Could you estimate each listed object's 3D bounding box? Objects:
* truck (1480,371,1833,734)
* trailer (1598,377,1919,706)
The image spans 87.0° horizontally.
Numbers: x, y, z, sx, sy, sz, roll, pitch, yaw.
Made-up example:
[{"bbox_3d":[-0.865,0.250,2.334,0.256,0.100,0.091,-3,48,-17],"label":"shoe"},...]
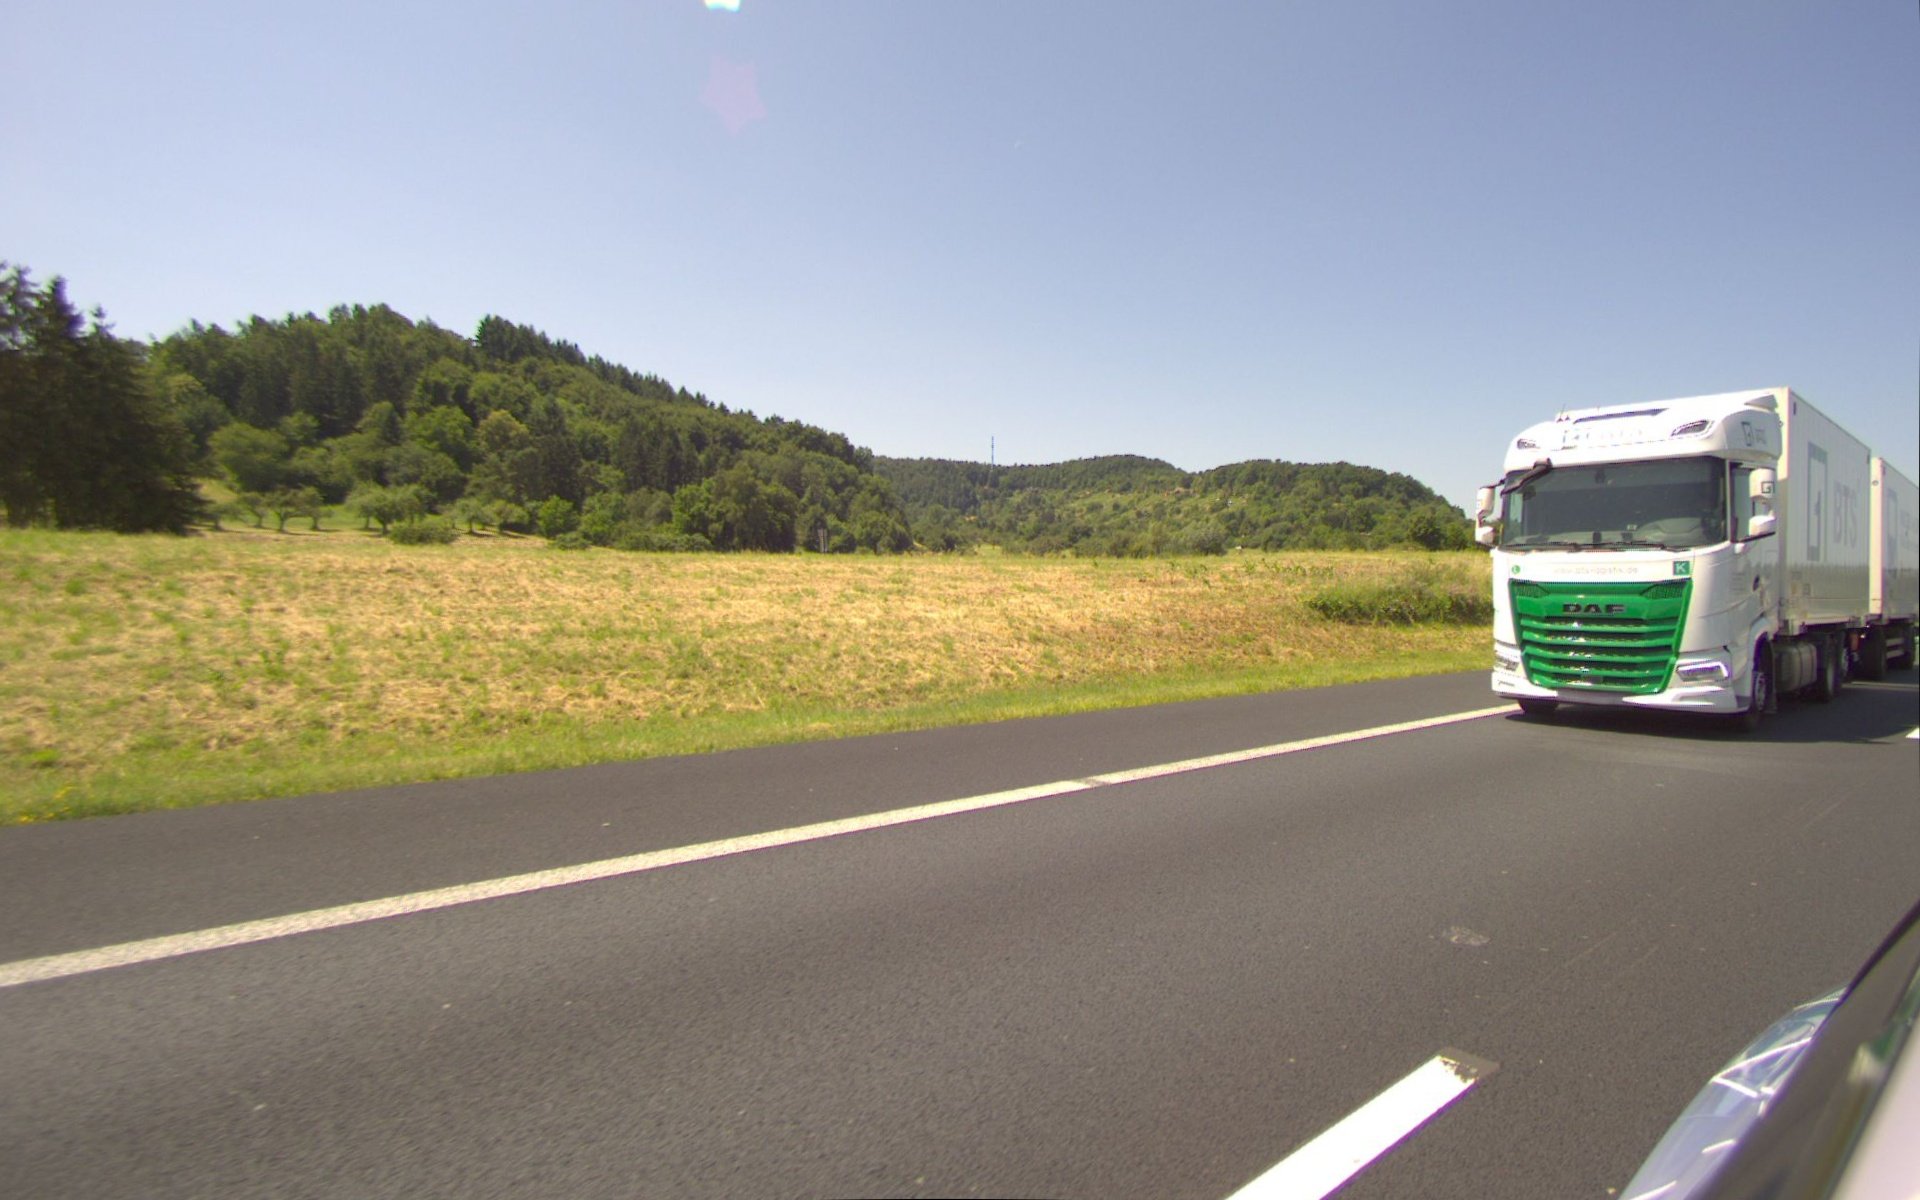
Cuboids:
[{"bbox_3d":[8.726,-0.505,12.565,4.328,3.638,2.646,-1,0,-42],"label":"truck"},{"bbox_3d":[15.859,-0.805,18.892,14.636,4.241,2.660,0,0,-41],"label":"trailer"}]
